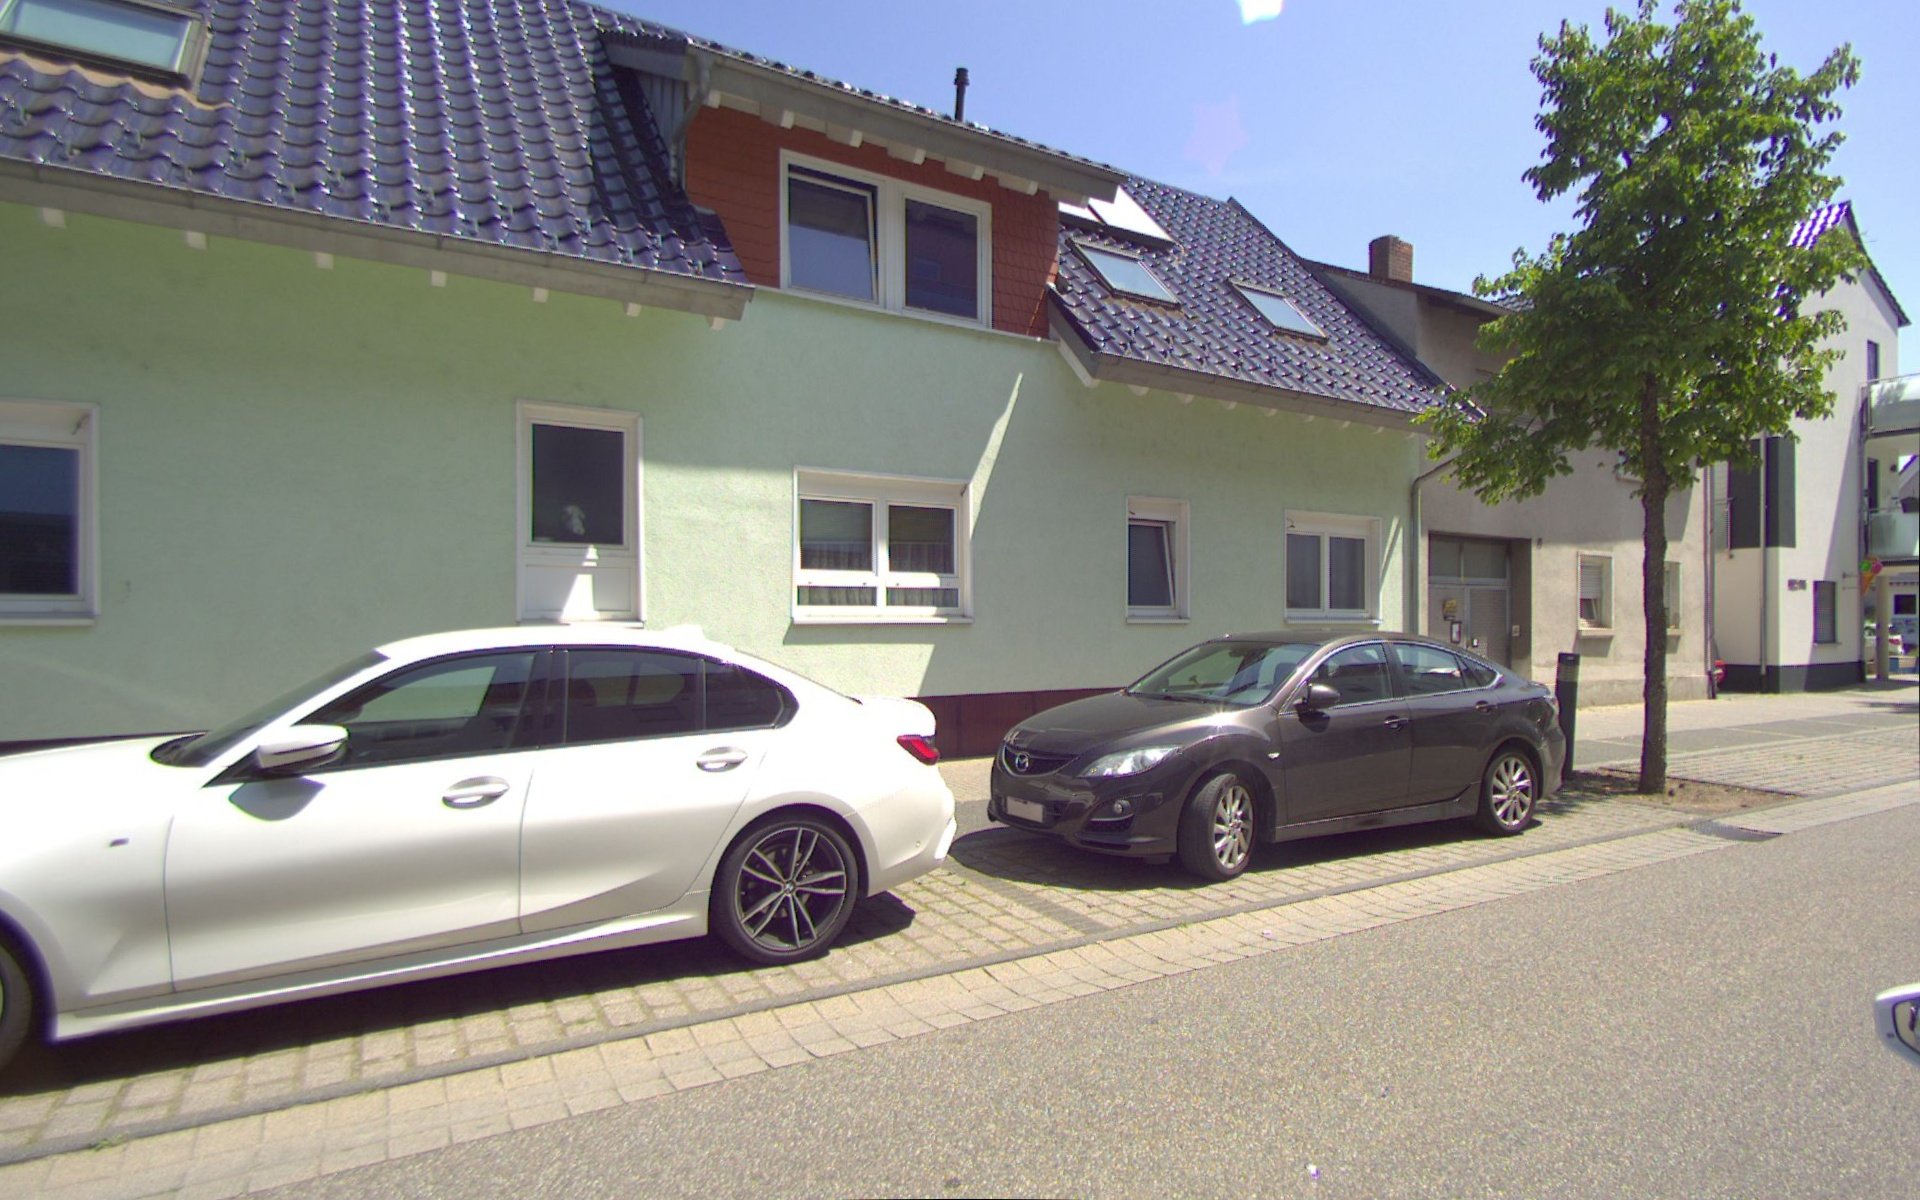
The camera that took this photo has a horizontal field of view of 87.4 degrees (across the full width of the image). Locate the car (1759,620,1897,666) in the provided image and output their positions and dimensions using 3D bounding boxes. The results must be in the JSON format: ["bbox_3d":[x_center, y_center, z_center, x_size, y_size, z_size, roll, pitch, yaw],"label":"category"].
[{"bbox_3d":[32.542,1.573,37.724,3.874,1.566,1.509,-1,0,43],"label":"car"}]

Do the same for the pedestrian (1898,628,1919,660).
[{"bbox_3d":[34.788,1.612,36.540,0.623,1.131,0.789,2,1,16],"label":"pedestrian"}]

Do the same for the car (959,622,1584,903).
[{"bbox_3d":[2.337,0.906,7.125,4.484,1.456,1.653,1,-1,-30],"label":"car"}]

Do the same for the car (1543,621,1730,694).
[{"bbox_3d":[14.829,1.207,22.139,1.571,1.462,3.093,1,-1,-35],"label":"car"}]

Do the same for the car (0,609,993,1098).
[{"bbox_3d":[-2.169,0.795,4.433,4.407,1.456,1.712,1,0,-30],"label":"car"}]
